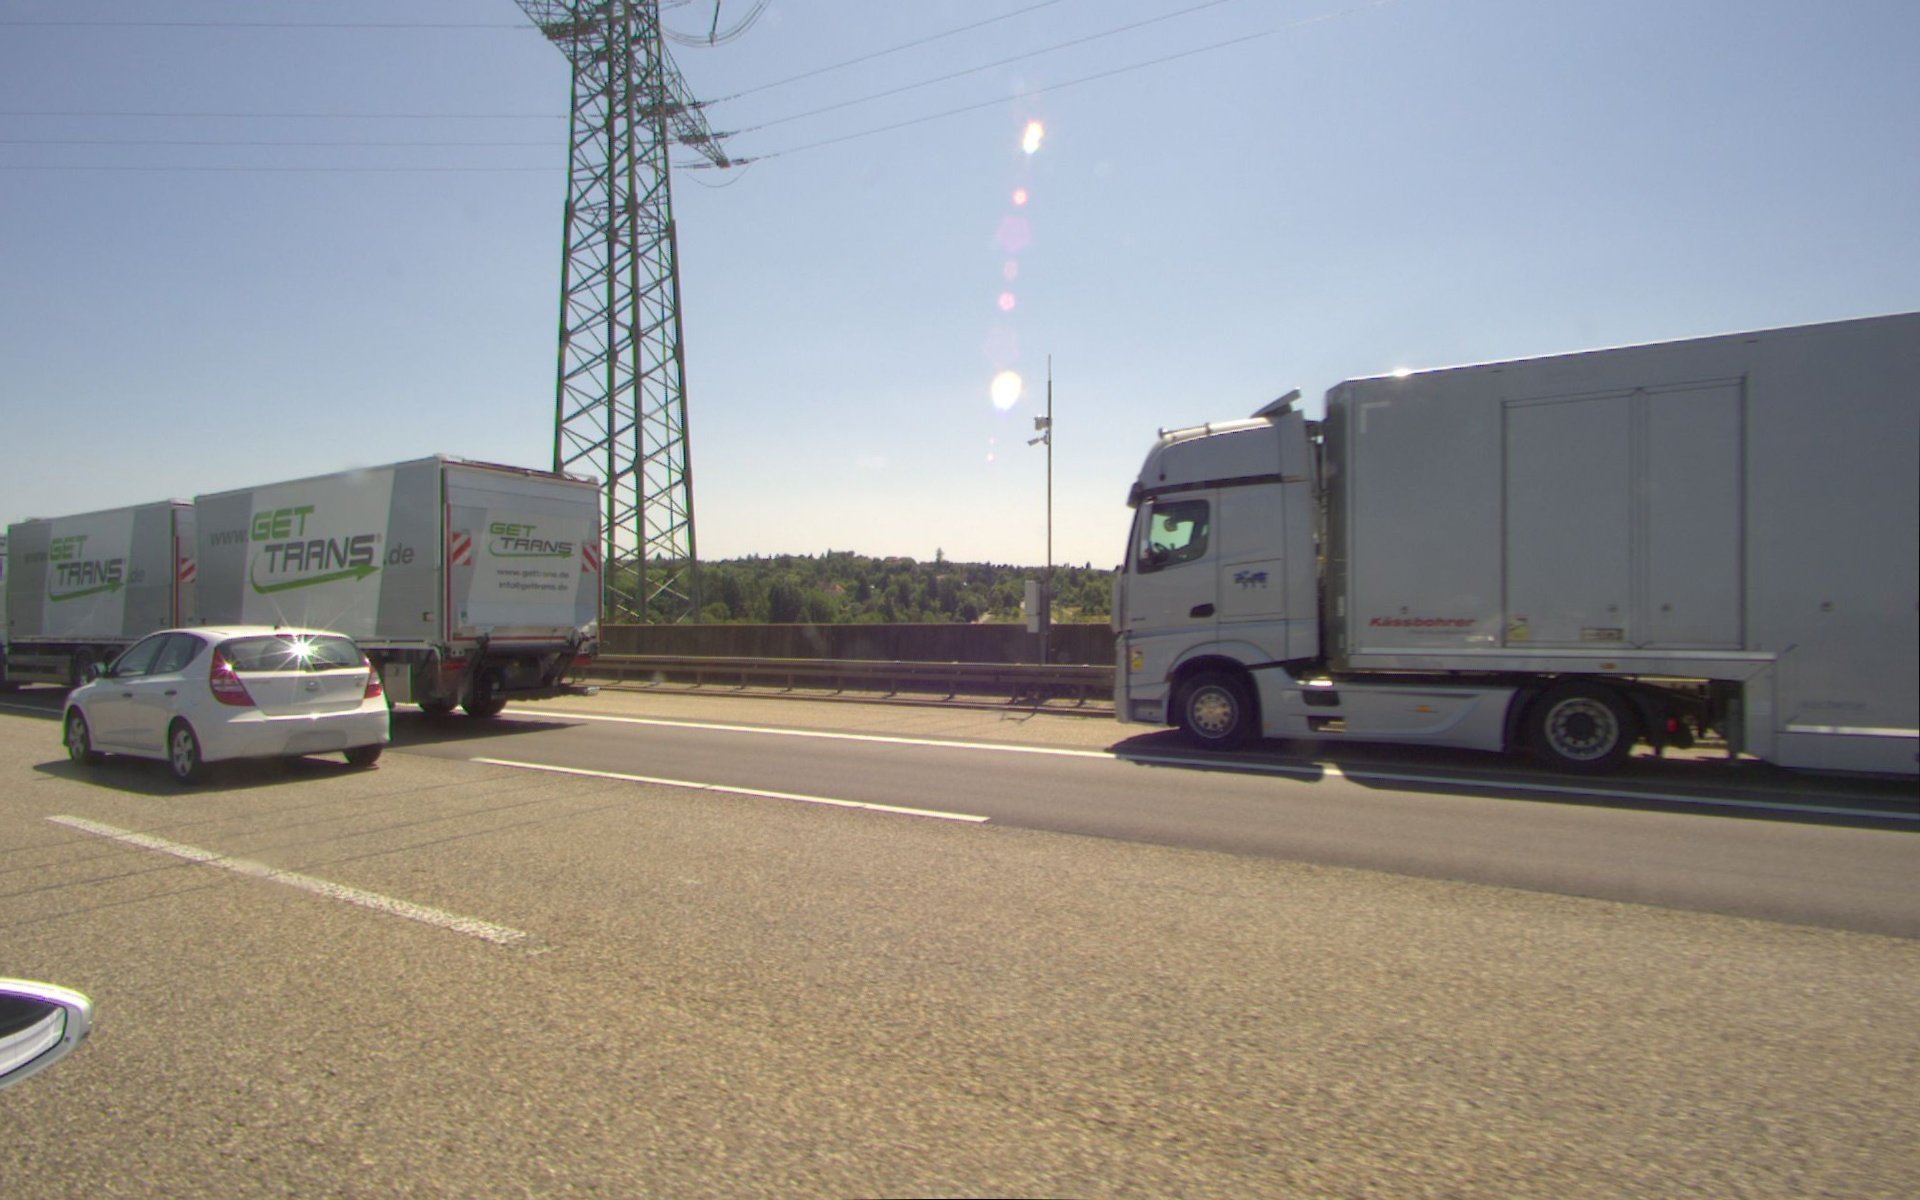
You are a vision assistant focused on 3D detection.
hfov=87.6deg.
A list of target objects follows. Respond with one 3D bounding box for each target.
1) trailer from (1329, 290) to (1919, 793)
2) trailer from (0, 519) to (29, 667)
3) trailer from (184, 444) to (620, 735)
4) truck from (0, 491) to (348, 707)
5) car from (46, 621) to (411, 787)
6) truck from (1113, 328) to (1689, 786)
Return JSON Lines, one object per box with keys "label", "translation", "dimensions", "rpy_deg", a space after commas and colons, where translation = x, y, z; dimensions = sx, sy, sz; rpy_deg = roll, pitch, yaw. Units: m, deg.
{"label": "trailer", "translation": [10.383, -0.475, 8.276], "dimensions": [13.573, 4.172, 2.532], "rpy_deg": [-1, -2, 32]}
{"label": "trailer", "translation": [-32.070, -0.159, 30.806], "dimensions": [8.883, 4.293, 2.860], "rpy_deg": [-1, -2, 32]}
{"label": "trailer", "translation": [-9.208, -0.077, 16.149], "dimensions": [7.899, 3.748, 2.693], "rpy_deg": [0, 0, 32]}
{"label": "truck", "translation": [-17.138, 0.050, 21.128], "dimensions": [10.851, 3.695, 2.652], "rpy_deg": [-1, 0, 32]}
{"label": "car", "translation": [-7.990, 0.967, 10.847], "dimensions": [4.231, 1.474, 1.785], "rpy_deg": [-1, -1, 32]}
{"label": "truck", "translation": [4.888, -0.342, 11.689], "dimensions": [5.633, 4.173, 2.512], "rpy_deg": [-1, 0, 32]}
